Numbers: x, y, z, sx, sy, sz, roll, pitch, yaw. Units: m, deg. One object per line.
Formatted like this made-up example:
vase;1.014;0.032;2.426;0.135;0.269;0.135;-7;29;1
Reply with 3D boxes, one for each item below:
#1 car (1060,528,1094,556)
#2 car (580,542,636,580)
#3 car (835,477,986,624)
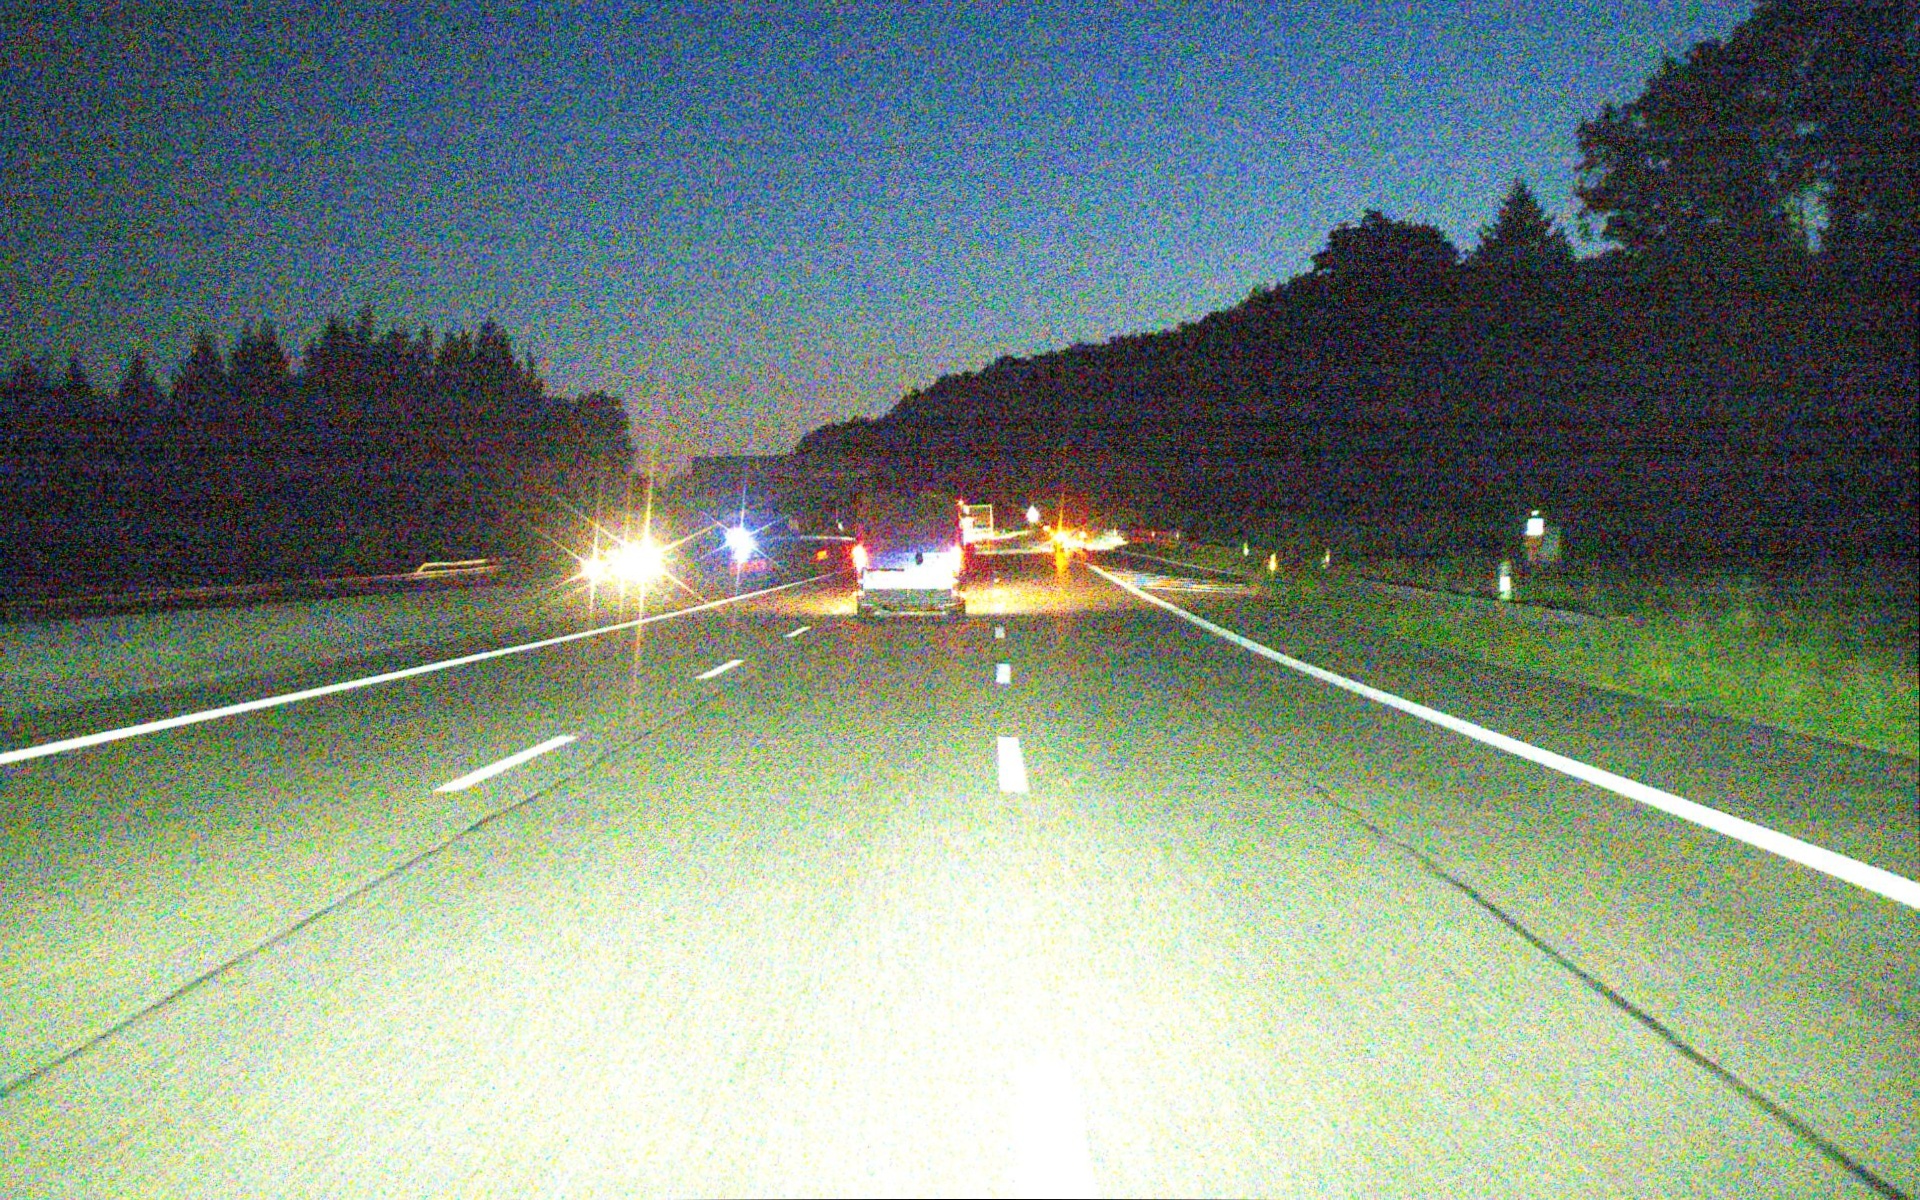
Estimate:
car;7.010;-3.481;206.380;1.843;1.634;4.000;-1;2;0
car;-15.687;-1.760;153.359;1.932;1.599;4.954;-2;1;0
car;-0.924;-0.986;67.319;2.786;2.724;6.299;-1;1;0
